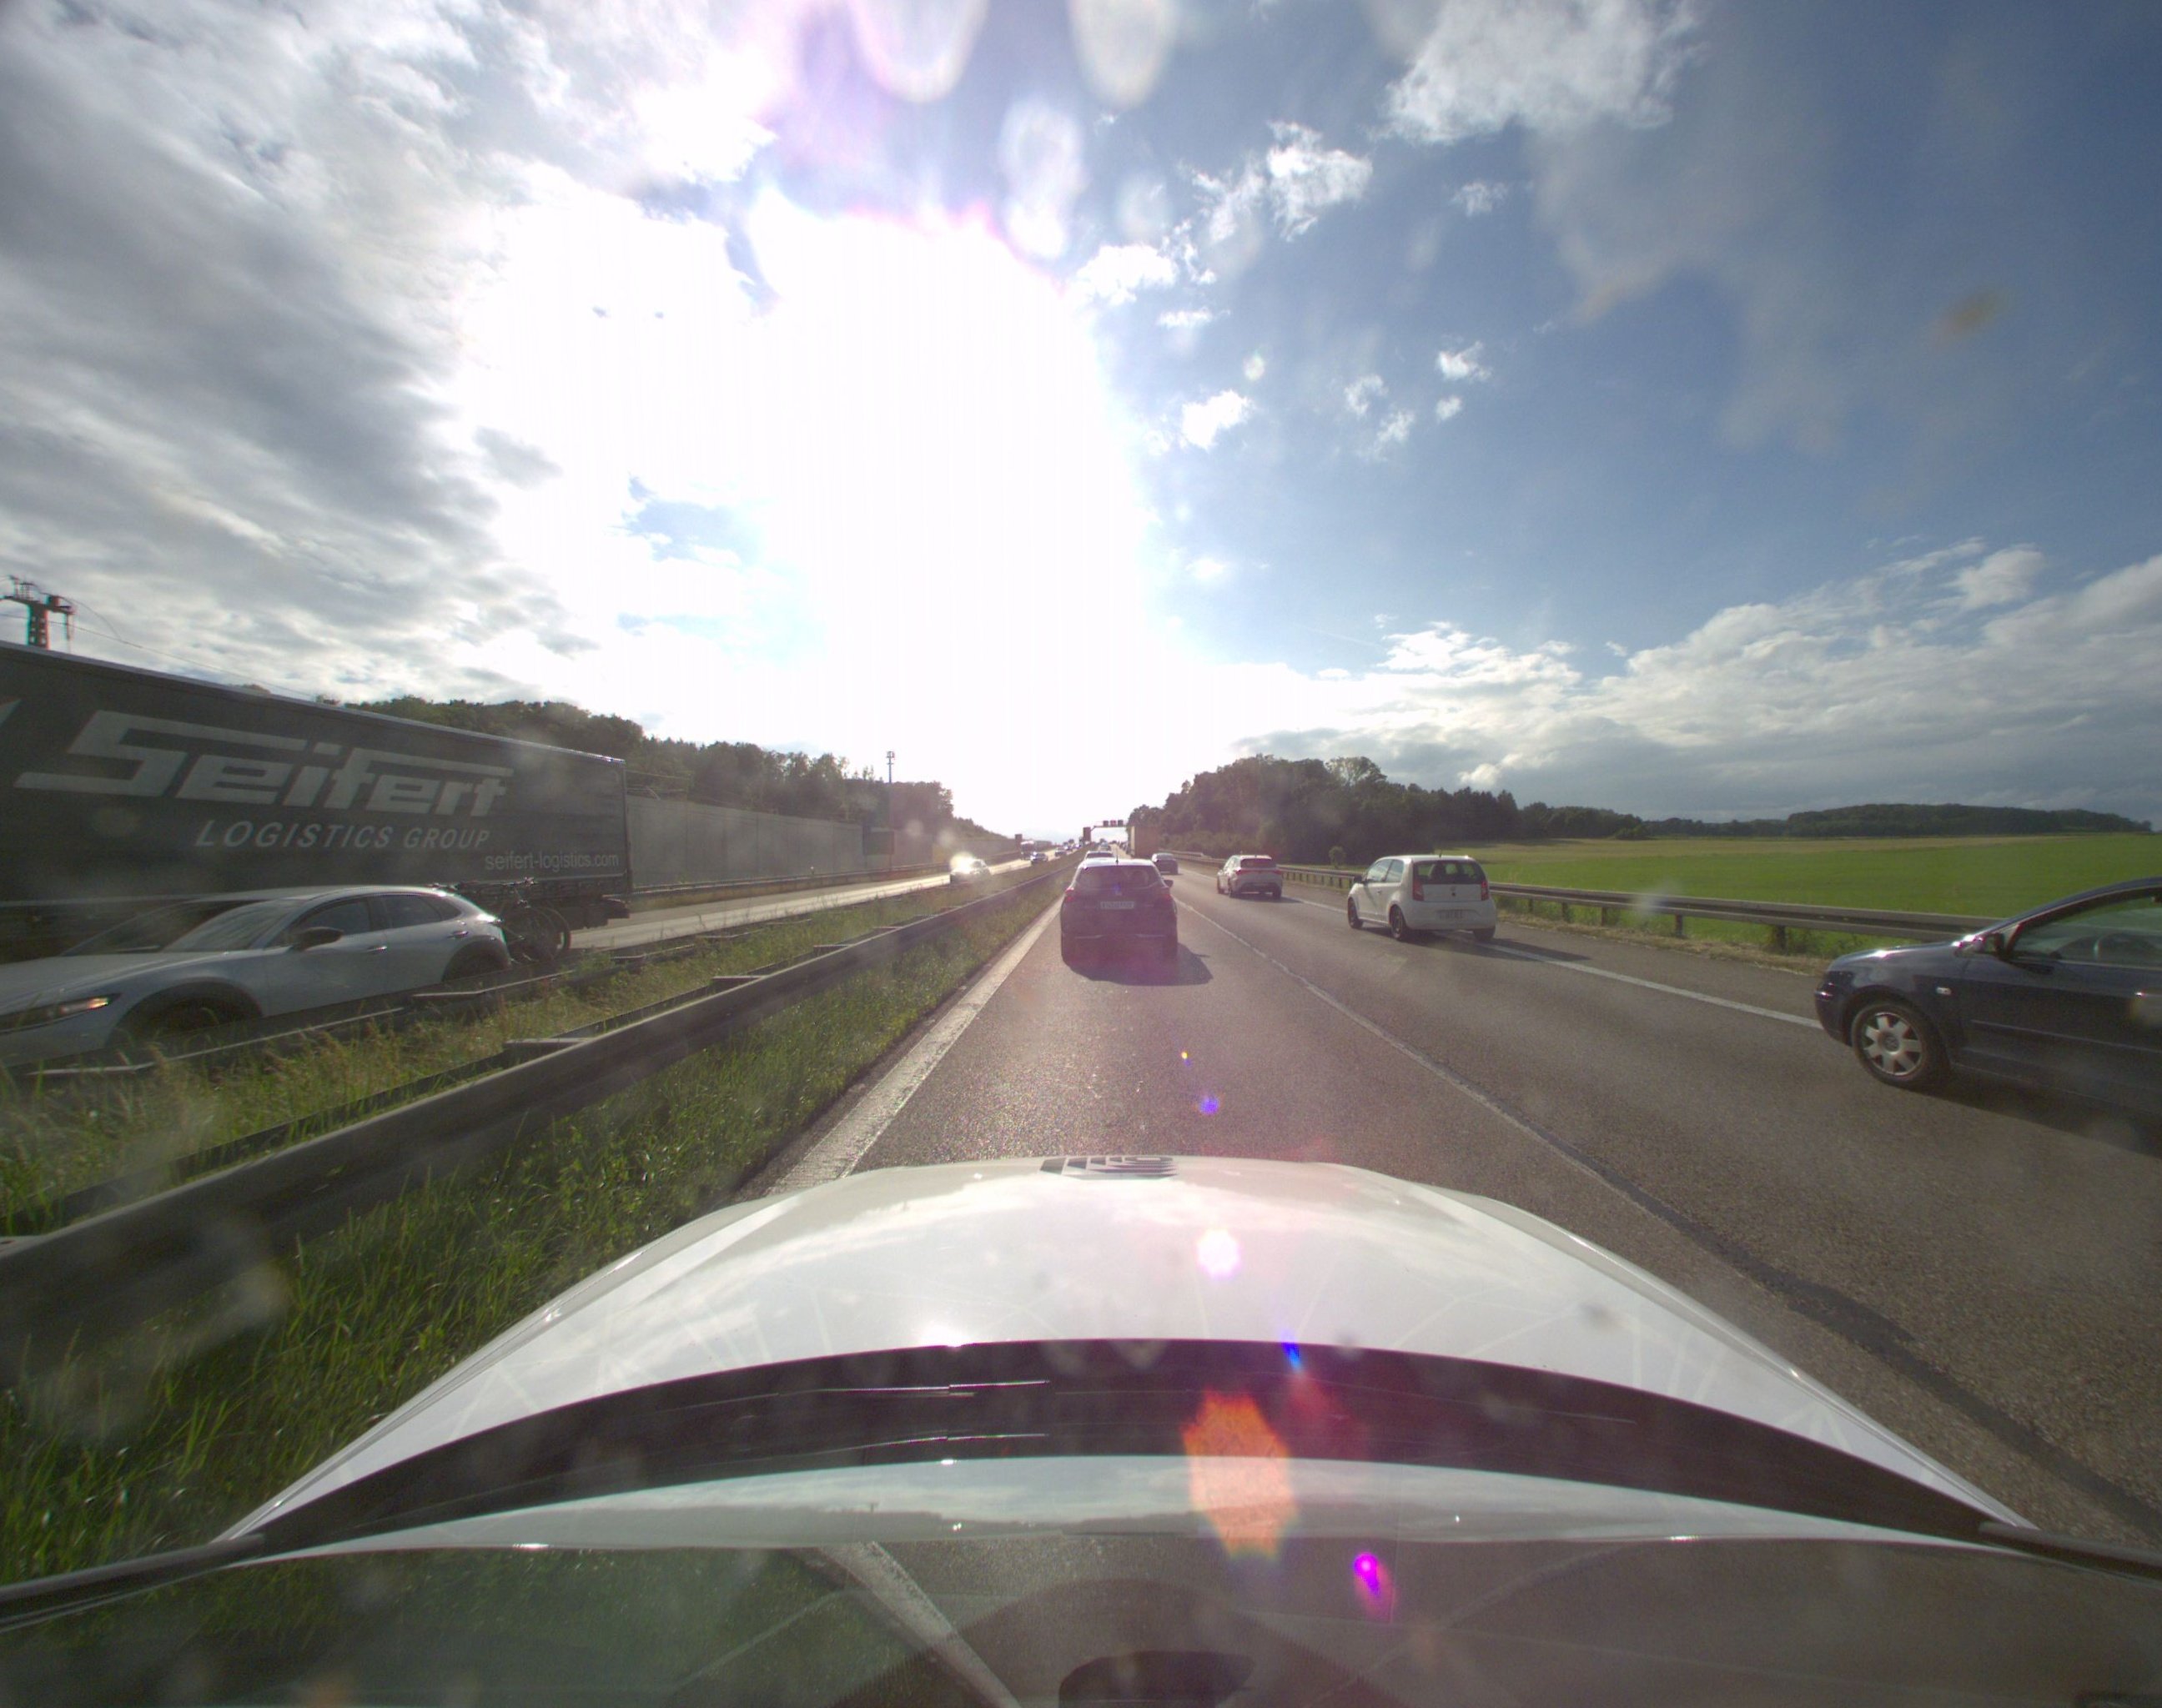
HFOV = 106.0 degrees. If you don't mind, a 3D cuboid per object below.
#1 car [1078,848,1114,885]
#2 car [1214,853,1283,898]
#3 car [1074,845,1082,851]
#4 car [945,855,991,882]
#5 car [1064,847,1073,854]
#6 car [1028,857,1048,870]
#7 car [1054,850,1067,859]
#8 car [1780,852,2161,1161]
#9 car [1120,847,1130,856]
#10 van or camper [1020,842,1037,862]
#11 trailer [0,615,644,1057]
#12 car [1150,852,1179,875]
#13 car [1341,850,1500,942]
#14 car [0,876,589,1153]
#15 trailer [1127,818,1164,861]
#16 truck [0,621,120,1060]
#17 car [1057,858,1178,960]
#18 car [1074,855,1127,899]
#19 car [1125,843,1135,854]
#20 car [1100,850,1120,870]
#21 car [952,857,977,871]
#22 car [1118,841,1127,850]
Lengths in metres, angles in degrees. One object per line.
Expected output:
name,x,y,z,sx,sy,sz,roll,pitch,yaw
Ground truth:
car,0.783,0.614,40.067,1.667,1.726,3.598,-1,-1,3
car,5.798,0.725,28.597,1.615,1.445,4.146,-1,-1,0
car,-0.886,-1.559,220.044,1.986,1.433,4.449,-1,-1,1
car,-6.434,0.845,46.805,1.895,1.464,4.185,-1,-1,1
car,-2.694,-0.685,180.090,1.847,1.433,4.449,-1,-1,1
car,-4.992,1.109,95.076,1.986,1.433,4.449,-1,-1,1
car,-3.452,0.111,140.201,1.986,1.593,4.449,-1,-1,1
car,5.905,0.709,4.021,1.704,1.445,3.775,-1,-1,1
car,9.320,-0.537,173.265,1.986,2.014,4.000,0,-1,1
van or camper,-8.247,-0.278,128.288,2.217,3.079,6.514,0,-1,1
trailer,-11.266,-0.105,11.537,2.749,4.115,12.909,-1,-1,2
car,5.628,0.666,55.534,1.740,1.475,4.150,-1,-1,3
car,6.099,0.680,15.017,1.543,1.495,3.378,-1,0,0
car,-7.179,1.075,7.638,1.881,1.632,5.112,-1,-1,2
trailer,7.143,-1.459,91.905,3.536,4.457,12.725,-1,-1,1
truck,-11.526,-0.134,5.045,2.743,4.090,6.956,-1,-1,2
car,0.615,0.801,13.202,1.703,1.426,3.381,-1,-1,3
car,0.702,0.752,27.375,1.667,1.367,3.598,-1,-1,3
car,8.467,-0.905,140.282,1.660,1.755,3.330,-1,-1,3
car,2.927,0.661,83.702,1.986,2.014,4.000,0,-1,1
car,-13.032,1.110,91.285,1.986,1.433,4.449,-1,-1,1
car,9.919,-2.039,194.812,1.986,2.014,4.000,0,-1,1
